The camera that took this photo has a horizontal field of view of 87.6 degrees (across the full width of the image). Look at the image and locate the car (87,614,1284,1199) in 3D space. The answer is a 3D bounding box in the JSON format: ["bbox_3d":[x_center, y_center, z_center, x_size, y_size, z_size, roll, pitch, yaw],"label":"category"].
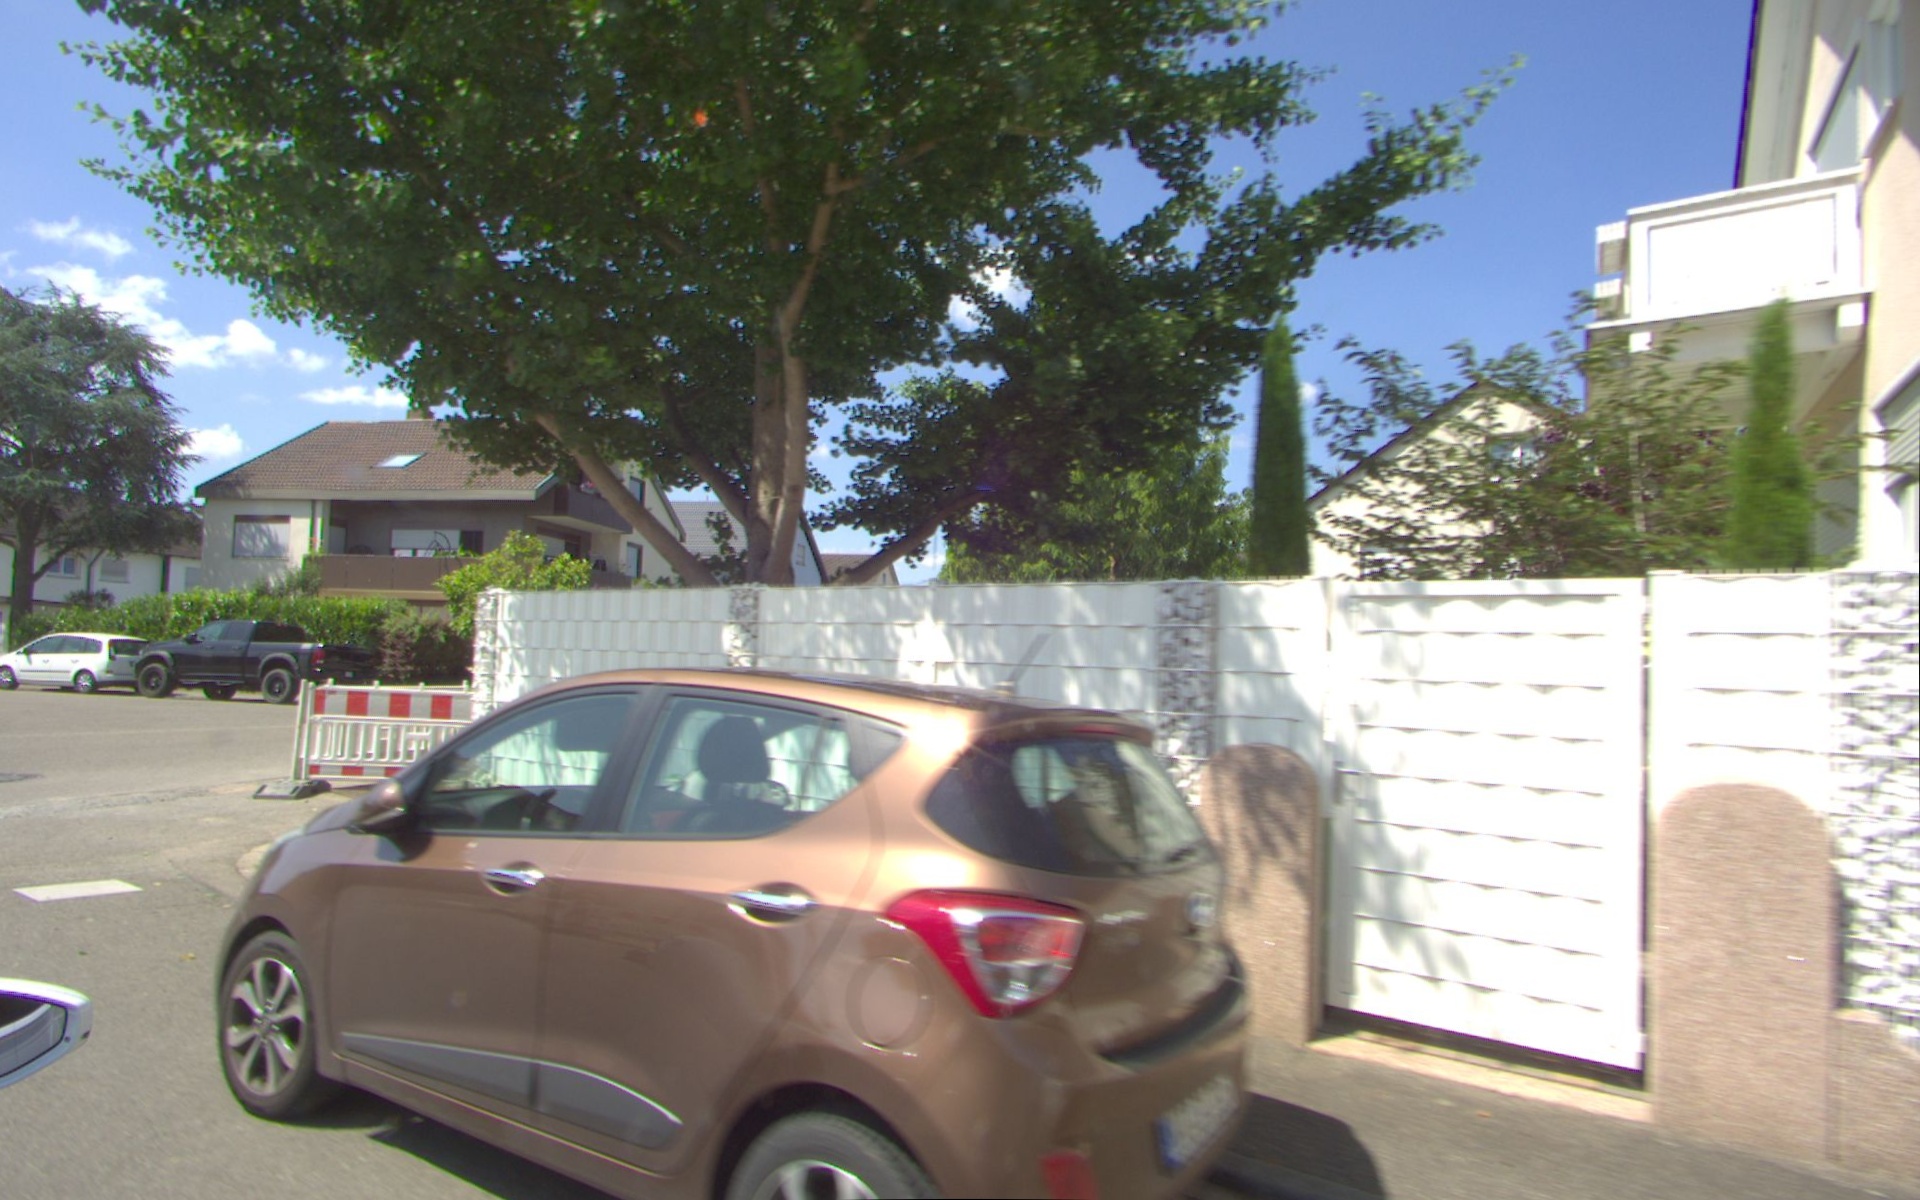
[{"bbox_3d":[-1.119,0.936,3.516,3.977,1.549,1.713,0,-7,32],"label":"car"}]

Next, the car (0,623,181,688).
[{"bbox_3d":[-24.070,1.529,27.537,4.064,1.582,1.805,2,-3,9],"label":"car"}]

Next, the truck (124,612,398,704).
[{"bbox_3d":[-17.949,1.487,25.872,5.602,2.038,2.373,2,-3,9],"label":"truck"}]
